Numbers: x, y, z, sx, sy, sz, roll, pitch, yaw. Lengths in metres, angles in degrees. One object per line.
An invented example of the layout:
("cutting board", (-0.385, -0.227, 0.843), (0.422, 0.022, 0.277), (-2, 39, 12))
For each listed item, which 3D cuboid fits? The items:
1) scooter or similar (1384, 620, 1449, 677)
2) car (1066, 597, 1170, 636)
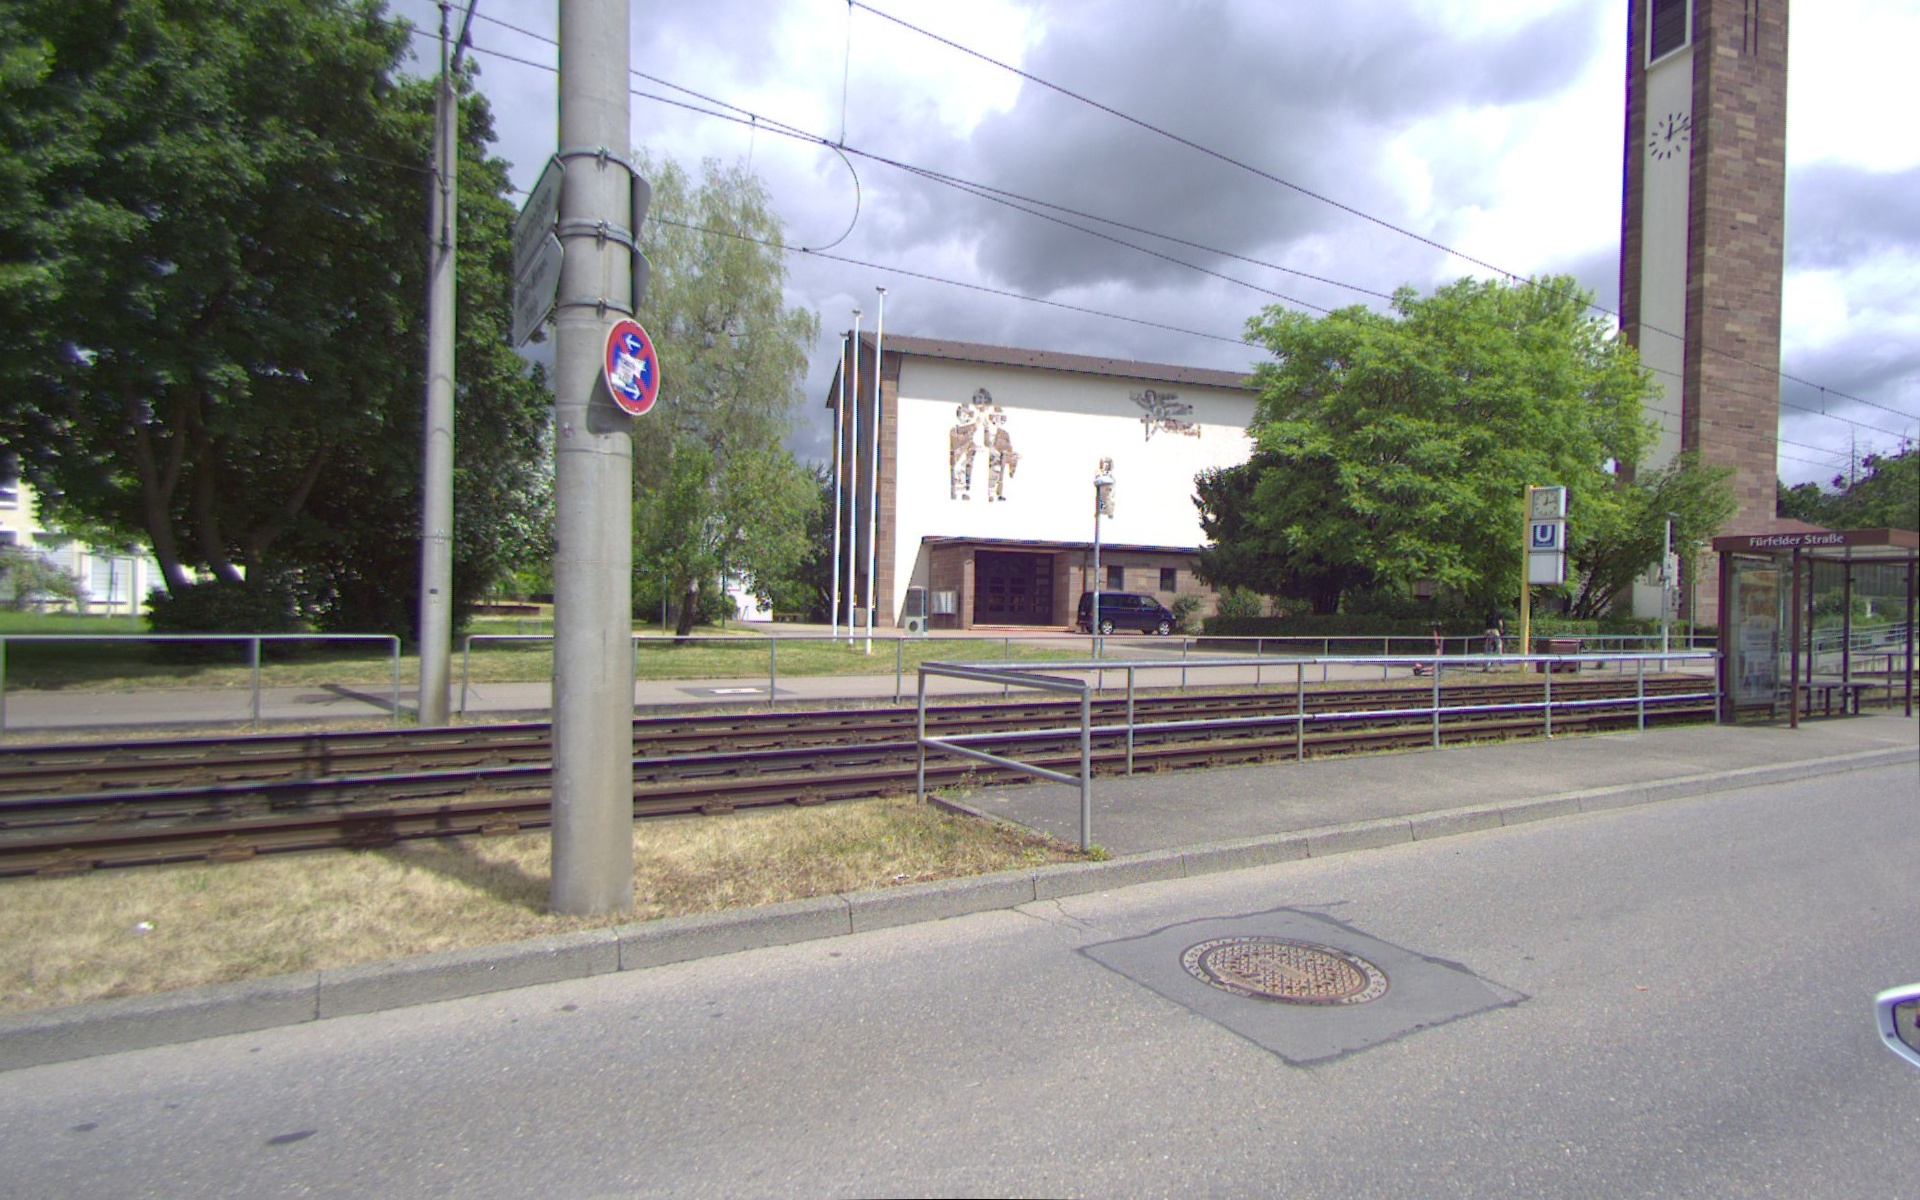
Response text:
("scooter or similar", (10.550, 1.101, 23.206), (1.384, 1.254, 0.646), (0, 2, -30))
("car", (7.444, 0.764, 47.516), (4.399, 1.595, 1.995), (2, 1, -13))
